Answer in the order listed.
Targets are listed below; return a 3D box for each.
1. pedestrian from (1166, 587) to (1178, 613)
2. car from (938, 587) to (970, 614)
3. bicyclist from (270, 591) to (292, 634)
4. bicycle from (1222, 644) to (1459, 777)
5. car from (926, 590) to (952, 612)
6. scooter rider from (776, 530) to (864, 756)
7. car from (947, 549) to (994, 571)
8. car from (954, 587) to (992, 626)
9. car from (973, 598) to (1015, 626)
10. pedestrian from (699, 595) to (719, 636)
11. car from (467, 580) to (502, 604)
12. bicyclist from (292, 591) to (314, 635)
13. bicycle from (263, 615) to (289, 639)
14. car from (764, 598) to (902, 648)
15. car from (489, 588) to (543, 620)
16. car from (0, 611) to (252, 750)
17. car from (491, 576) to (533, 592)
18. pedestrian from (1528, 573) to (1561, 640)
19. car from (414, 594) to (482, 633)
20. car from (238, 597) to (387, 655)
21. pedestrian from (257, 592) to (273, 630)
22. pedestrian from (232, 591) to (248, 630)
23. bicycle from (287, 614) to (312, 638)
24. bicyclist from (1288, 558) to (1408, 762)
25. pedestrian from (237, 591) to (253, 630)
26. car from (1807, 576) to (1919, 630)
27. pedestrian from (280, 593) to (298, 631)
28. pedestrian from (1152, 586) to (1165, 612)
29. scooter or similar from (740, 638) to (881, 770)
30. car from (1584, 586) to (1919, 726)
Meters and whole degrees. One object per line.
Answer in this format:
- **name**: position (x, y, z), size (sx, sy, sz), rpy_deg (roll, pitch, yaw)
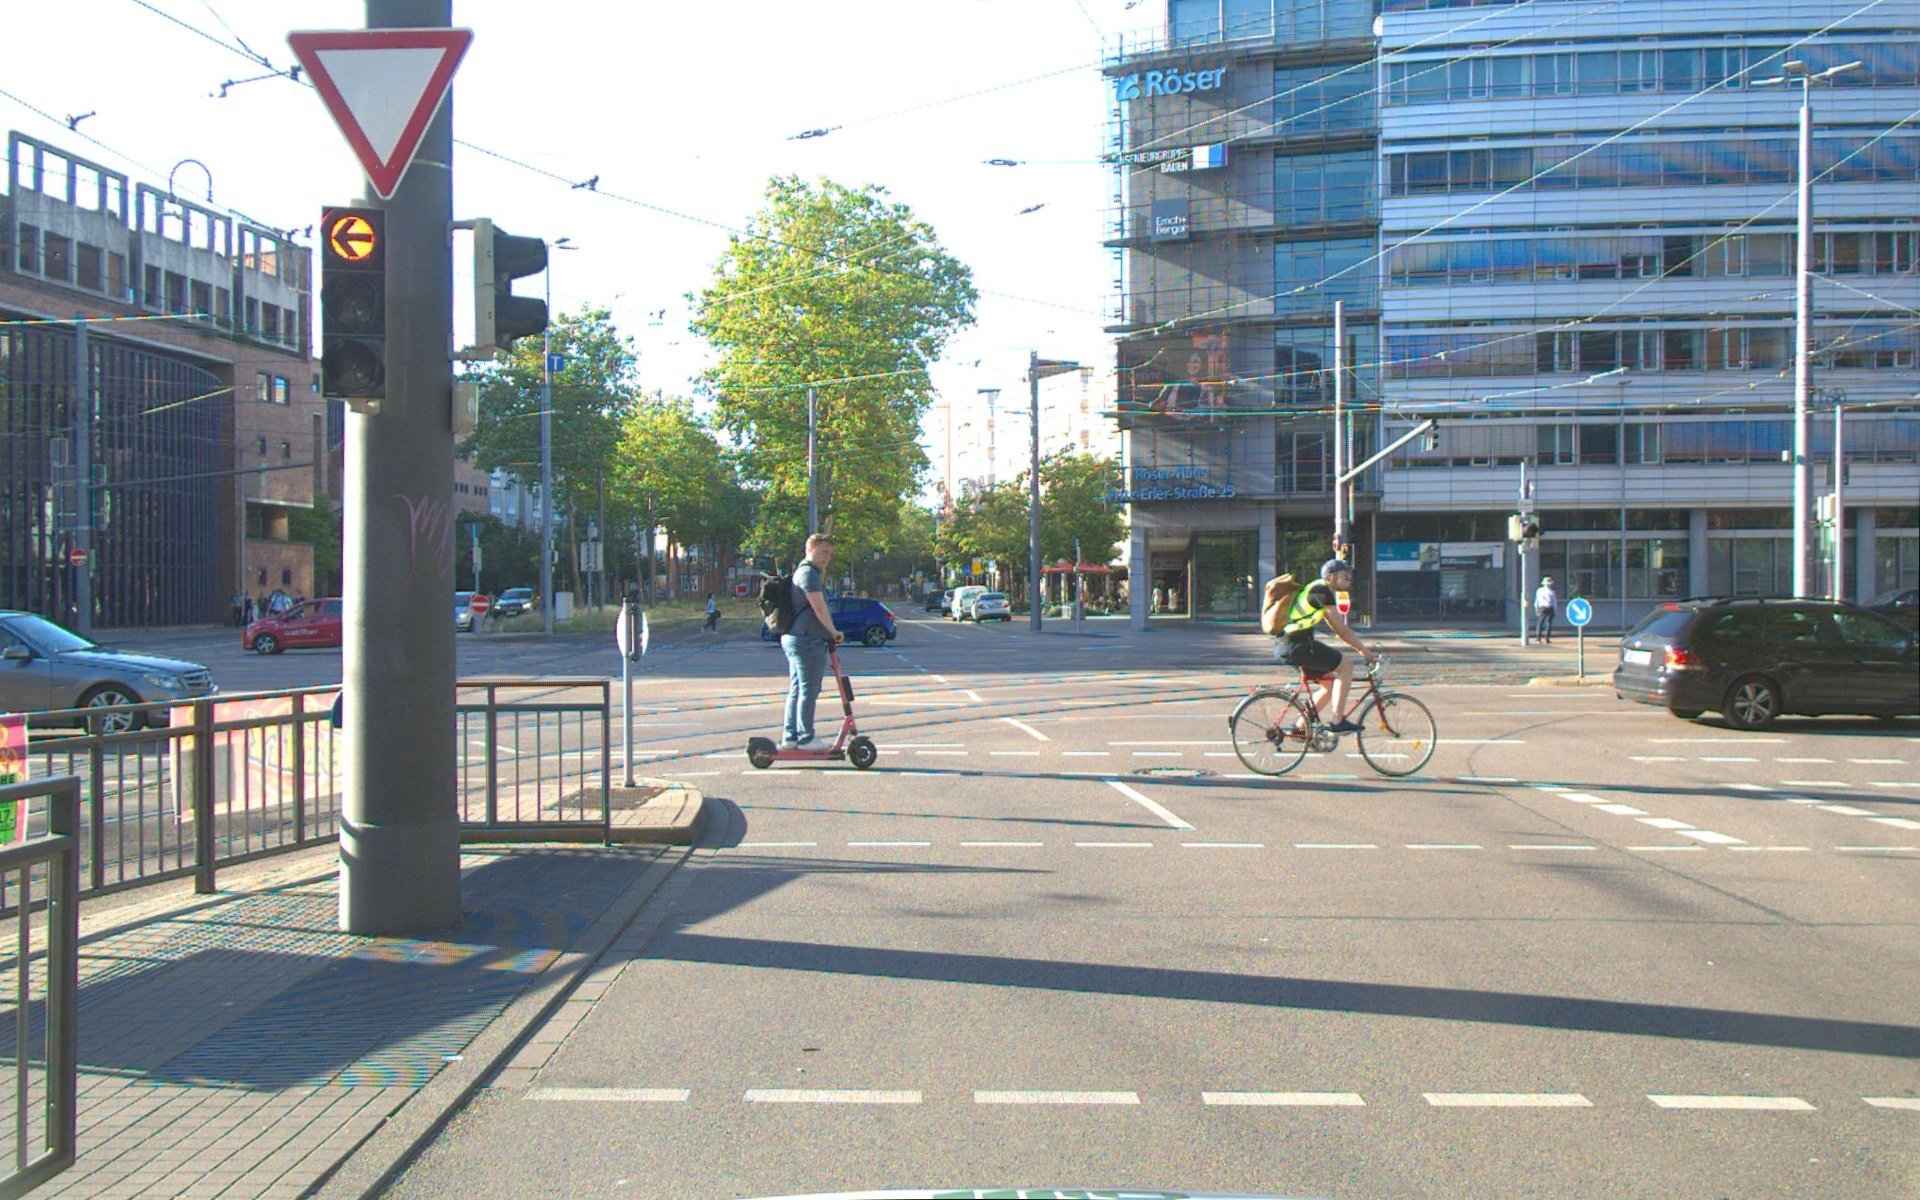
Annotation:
- **pedestrian**: position (12.358, 0.015, 96.531), size (0.691, 1.491, 0.384), rpy_deg (-1, 0, 8)
- **car**: position (-0.382, 0.022, 104.998), size (1.953, 1.691, 3.999), rpy_deg (-1, 0, -1)
- **bicyclist**: position (-26.758, 0.486, 65.212), size (0.582, 1.705, 0.788), rpy_deg (-1, 0, -7)
- **bicycle**: position (3.216, 0.924, 14.081), size (1.883, 1.083, 0.629), rpy_deg (0, 0, 2)
- **car**: position (-1.639, 0.059, 126.696), size (1.953, 1.691, 3.999), rpy_deg (-1, 0, -1)
- **scooter rider**: position (-1.218, 0.367, 14.526), size (0.650, 1.929, 0.736), rpy_deg (-1, 0, 2)
- **car**: position (0.872, -3.388, 140.784), size (3.681, 1.780, 1.783), rpy_deg (1, 0, 14)
- **car**: position (0.671, 0.342, 89.699), size (1.953, 2.026, 3.999), rpy_deg (-1, 0, -1)
- **car**: position (1.662, 0.590, 82.874), size (1.953, 1.355, 3.999), rpy_deg (-1, 0, -1)
- **pedestrian**: position (-9.608, 0.593, 63.365), size (0.740, 1.557, 0.507), rpy_deg (1, 0, -8)
- **car**: position (-30.877, -0.502, 107.459), size (1.873, 1.536, 3.988), rpy_deg (1, 0, -12)
- **bicyclist**: position (-26.015, 0.502, 65.478), size (0.582, 1.705, 0.788), rpy_deg (-1, 0, -7)
- **bicycle**: position (-26.907, 1.055, 65.100), size (0.503, 0.897, 1.835), rpy_deg (-1, 0, -8)
- **car**: position (-3.779, 0.652, 48.882), size (3.914, 1.371, 1.972), rpy_deg (-1, 0, -10)
- **car**: position (-21.918, 0.195, 81.763), size (1.955, 1.534, 3.994), rpy_deg (-1, 0, -6)
- **car**: position (-10.404, 0.868, 18.304), size (4.295, 1.404, 1.997), rpy_deg (-1, 0, -6)
- **car**: position (-46.740, -1.693, 172.607), size (3.948, 1.579, 1.589), rpy_deg (1, -1, -32)
- **pedestrian**: position (15.192, 0.172, 43.000), size (0.704, 1.711, 0.557), rpy_deg (1, 0, 6)
- **car**: position (-21.157, 0.532, 68.530), size (1.955, 1.534, 3.994), rpy_deg (-1, 0, -6)
- **car**: position (-17.720, 0.691, 45.420), size (3.534, 1.492, 1.790), rpy_deg (-1, 0, -13)
- **pedestrian**: position (-33.577, 0.532, 79.884), size (0.511, 1.810, 0.546), rpy_deg (-1, 0, 6)
- **pedestrian**: position (-34.286, 0.505, 78.785), size (0.479, 1.842, 0.546), rpy_deg (0, 0, 6)
- **bicycle**: position (-26.113, 1.023, 65.418), size (0.503, 0.897, 1.835), rpy_deg (-1, 0, -8)
- **bicyclist**: position (3.291, 0.496, 14.076), size (0.885, 1.693, 0.639), rpy_deg (0, 0, 2)
- **pedestrian**: position (-34.520, 0.502, 79.891), size (0.479, 1.842, 0.546), rpy_deg (-1, 0, 6)
- **car**: position (25.319, 0.063, 44.497), size (4.151, 1.417, 1.796), rpy_deg (-1, 0, 4)
- **pedestrian**: position (-32.405, 0.579, 79.847), size (0.627, 1.842, 0.546), rpy_deg (0, 0, 6)
- **pedestrian**: position (11.613, -0.068, 96.909), size (0.723, 1.491, 0.537), rpy_deg (-1, 0, 8)
- **scooter or similar**: position (-1.304, 0.907, 14.537), size (1.181, 1.123, 0.403), rpy_deg (-1, 0, 2)
- **car**: position (9.957, 0.617, 19.712), size (4.296, 1.544, 1.999), rpy_deg (0, 1, -2)
